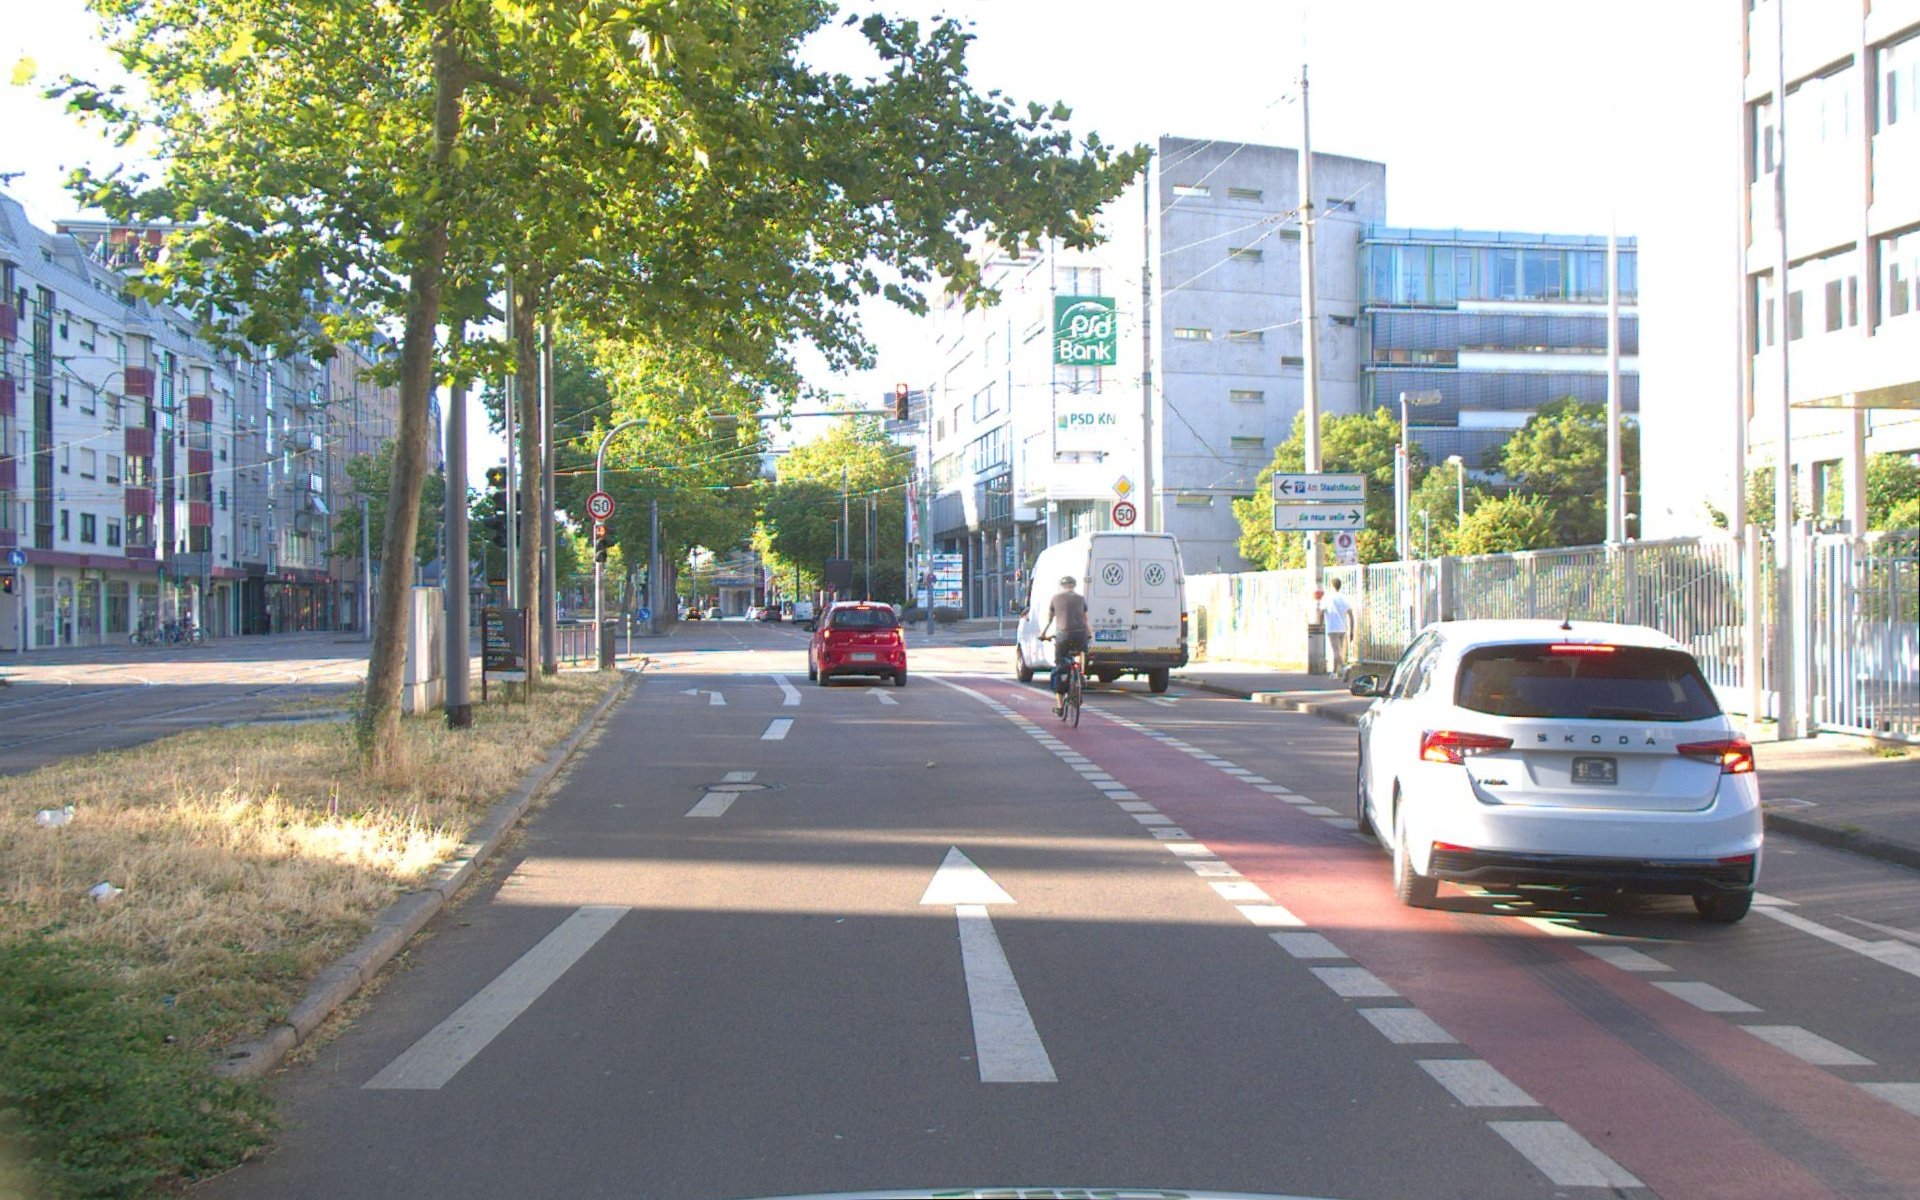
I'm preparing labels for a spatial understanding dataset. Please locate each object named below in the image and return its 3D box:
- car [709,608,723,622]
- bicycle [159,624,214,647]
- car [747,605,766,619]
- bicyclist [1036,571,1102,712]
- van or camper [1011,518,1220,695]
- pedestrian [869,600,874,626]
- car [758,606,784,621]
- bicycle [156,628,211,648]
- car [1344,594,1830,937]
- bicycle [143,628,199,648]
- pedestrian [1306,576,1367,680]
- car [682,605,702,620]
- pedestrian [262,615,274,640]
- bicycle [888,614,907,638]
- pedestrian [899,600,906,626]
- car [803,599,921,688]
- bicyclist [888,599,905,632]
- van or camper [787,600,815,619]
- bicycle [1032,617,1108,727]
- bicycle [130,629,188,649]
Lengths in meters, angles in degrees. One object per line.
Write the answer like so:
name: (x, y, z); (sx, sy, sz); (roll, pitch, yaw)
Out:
car: (-30.658, 1.856, 207.499); (1.628, 1.635, 3.522); (-2, 0, -10)
bicycle: (-34.565, 1.589, 73.924); (2.132, 0.967, 0.490); (-1, 0, -13)
car: (-24.536, 1.441, 199.650); (1.852, 1.555, 4.417); (-2, 0, -12)
bicyclist: (1.344, 0.505, 20.449); (0.728, 1.698, 0.744); (1, 0, -2)
van or camper: (2.596, 0.112, 29.613); (2.227, 2.781, 6.334); (2, 0, -9)
pedestrian: (-5.394, 0.794, 100.717); (0.288, 1.589, 0.302); (-1, 0, -7)
car: (-20.406, 1.418, 178.610); (2.434, 1.555, 4.419); (-2, 0, -11)
bicycle: (-34.414, 1.670, 73.298); (2.132, 0.838, 0.526); (-1, 0, -13)
car: (3.275, 0.742, 9.453); (1.763, 1.527, 3.984); (0, 0, 8)
bicycle: (-34.339, 1.669, 71.999); (2.132, 0.801, 0.490); (-1, 0, -13)
pedestrian: (6.617, 0.483, 29.098); (0.772, 1.779, 0.770); (-1, 0, -12)
car: (-31.713, 1.517, 195.458); (2.023, 1.682, 3.479); (-1, 0, -15)
pedestrian: (-41.780, 1.635, 99.845); (0.501, 1.484, 0.527); (-1, 0, -9)
bicycle: (-3.169, 1.298, 83.997); (0.777, 1.182, 2.496); (-1, 0, -6)
pedestrian: (-3.505, 0.782, 100.285); (0.307, 1.589, 0.295); (-1, 0, 22)
car: (-1.876, 0.751, 30.636); (1.806, 1.515, 3.708); (-1, 0, -9)
bicyclist: (-3.250, 0.788, 84.674); (0.770, 1.663, 0.638); (-1, 0, -6)
van or camper: (-14.938, 0.884, 155.290); (2.108, 1.781, 4.417); (-2, 0, -12)
bicycle: (1.337, 0.848, 20.428); (0.728, 1.245, 2.155); (1, 0, -1)
bicycle: (-34.447, 1.658, 71.146); (2.132, 0.801, 0.639); (-1, 0, -13)
